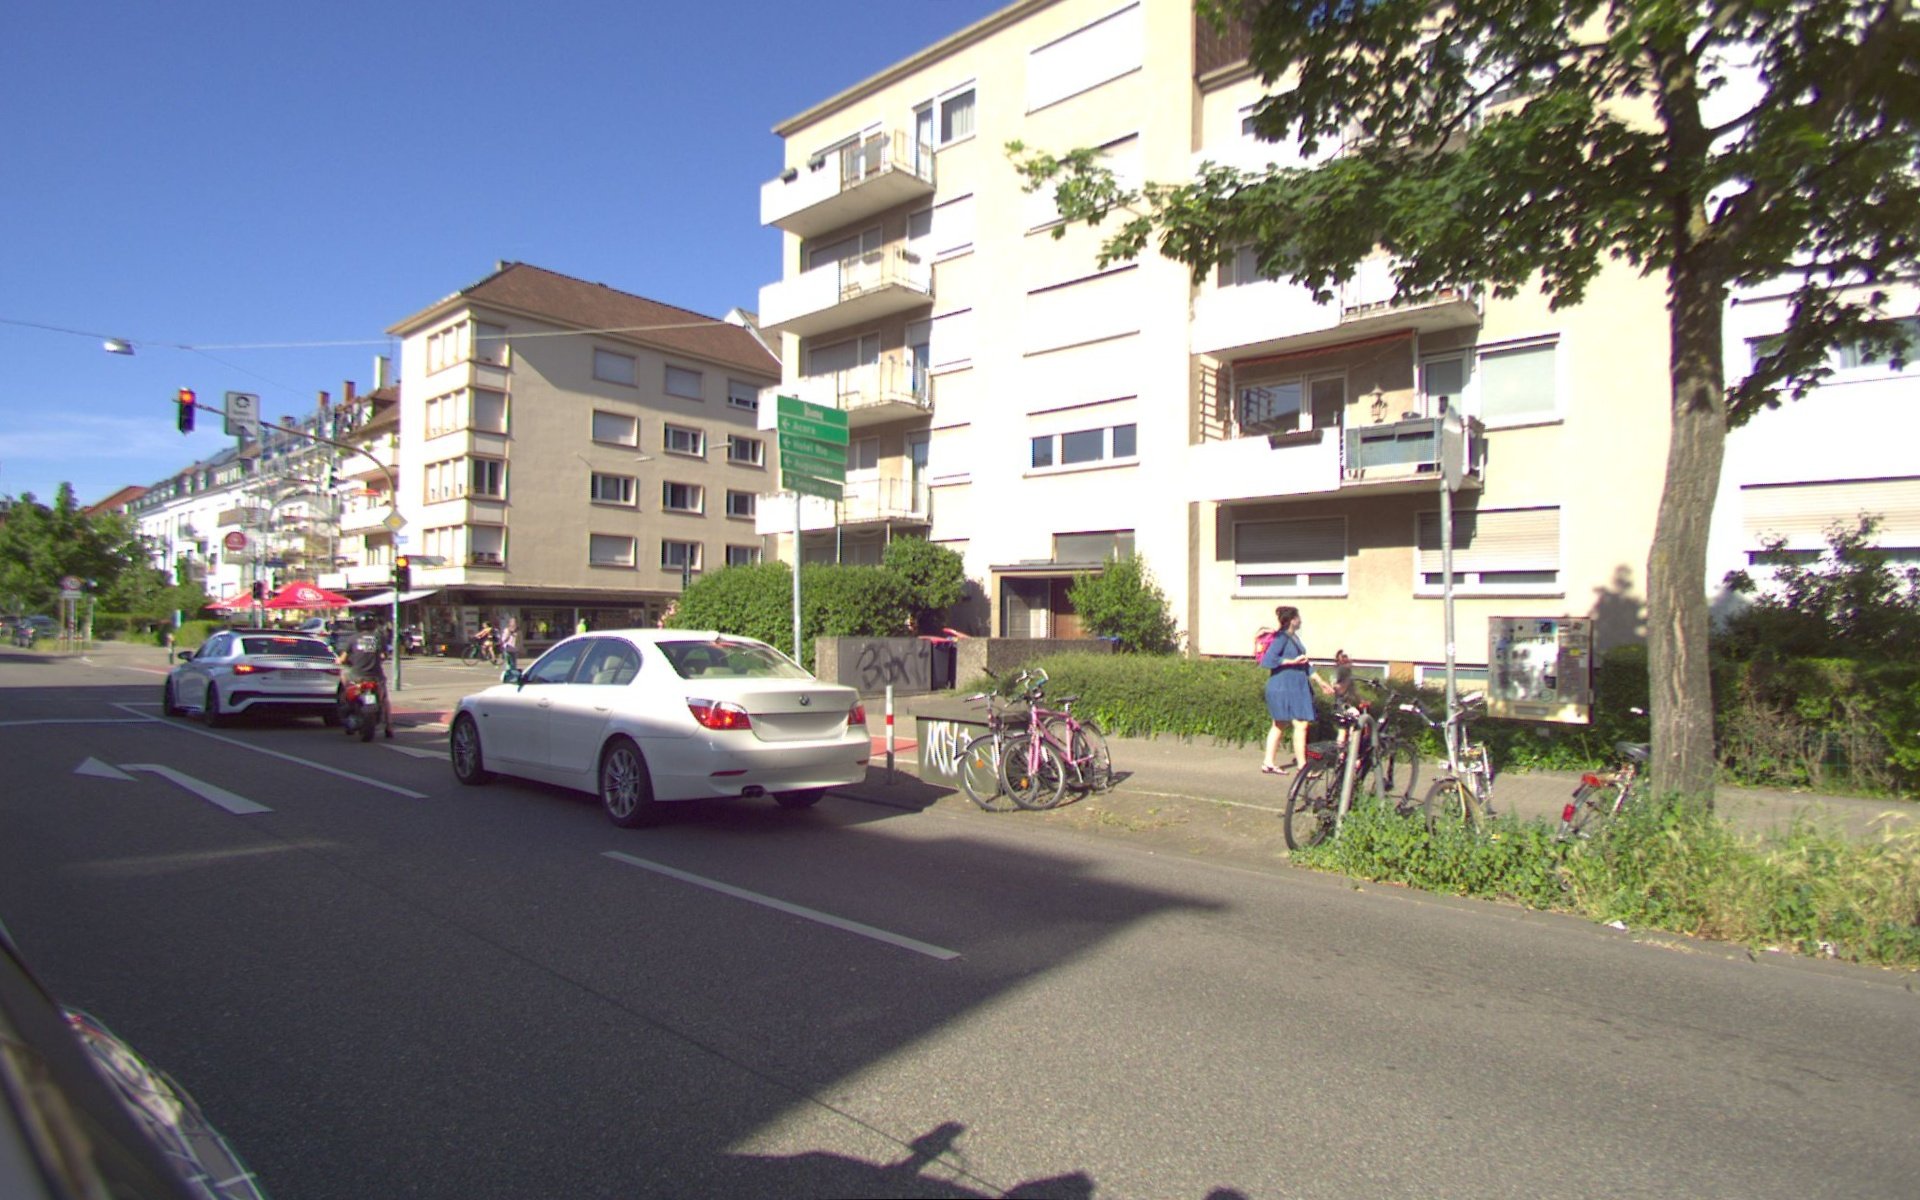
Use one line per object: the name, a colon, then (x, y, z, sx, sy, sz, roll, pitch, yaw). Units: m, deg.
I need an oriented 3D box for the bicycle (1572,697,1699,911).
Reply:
bicycle: (4.086, 1.151, 6.080, 0.447, 0.972, 1.521, -1, 0, 41)

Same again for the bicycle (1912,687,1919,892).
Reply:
bicycle: (5.134, 1.059, 4.976, 0.560, 1.095, 1.807, -1, 0, 41)

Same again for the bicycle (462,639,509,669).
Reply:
bicycle: (-17.727, 2.018, 37.848, 0.449, 1.085, 1.545, -1, -3, 39)

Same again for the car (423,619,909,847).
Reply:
car: (-2.784, 0.952, 8.846, 4.777, 1.476, 1.794, -1, -5, 42)

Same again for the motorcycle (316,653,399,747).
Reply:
motorcycle: (-8.040, 1.295, 13.465, 0.442, 1.130, 1.934, 6, -5, -44)

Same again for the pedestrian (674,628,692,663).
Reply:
pedestrian: (-13.406, 2.188, 48.961, 0.719, 1.658, 0.563, 1, -2, 0)

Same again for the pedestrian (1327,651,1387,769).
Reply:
pedestrian: (4.095, 1.115, 10.446, 0.490, 1.169, 0.331, -2, -2, 41)

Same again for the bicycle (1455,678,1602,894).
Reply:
bicycle: (3.796, 1.137, 6.692, 0.492, 1.095, 1.807, -1, 0, 41)

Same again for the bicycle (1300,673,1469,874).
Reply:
bicycle: (3.035, 1.136, 7.138, 0.560, 1.095, 1.807, -1, 0, 41)

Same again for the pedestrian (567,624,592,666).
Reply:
pedestrian: (-16.002, 1.897, 42.565, 0.683, 1.747, 0.719, 0, -2, 40)

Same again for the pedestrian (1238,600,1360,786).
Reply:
pedestrian: (3.294, 0.862, 9.838, 0.929, 1.699, 0.662, -1, -2, 41)

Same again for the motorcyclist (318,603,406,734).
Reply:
motorcyclist: (-7.960, 0.906, 13.466, 0.720, 1.659, 0.918, 6, -5, -43)

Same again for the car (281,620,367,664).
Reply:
car: (-24.986, 1.625, 39.710, 4.303, 1.635, 1.741, -1, -3, 42)

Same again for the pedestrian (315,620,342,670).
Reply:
pedestrian: (-22.176, 1.577, 35.540, 0.661, 1.731, 0.585, 2, -2, -39)

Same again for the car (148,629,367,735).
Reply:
car: (-11.076, 1.213, 15.835, 4.504, 1.417, 1.680, -1, -5, 41)

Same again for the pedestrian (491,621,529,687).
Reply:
pedestrian: (-11.627, 1.382, 26.133, 0.682, 1.671, 0.650, -1, -3, 43)

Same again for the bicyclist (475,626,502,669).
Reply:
bicyclist: (-17.672, 1.774, 37.933, 0.578, 1.619, 0.677, -1, -3, 40)

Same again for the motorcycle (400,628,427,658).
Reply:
motorcycle: (-26.224, 2.060, 48.564, 1.763, 1.378, 0.562, -2, -3, 44)

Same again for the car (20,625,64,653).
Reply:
car: (-46.115, 1.934, 50.838, 3.093, 1.366, 1.305, -1, -3, 42)

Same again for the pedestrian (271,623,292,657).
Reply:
pedestrian: (-31.361, 1.841, 46.751, 0.535, 1.521, 0.635, -1, 1, 40)

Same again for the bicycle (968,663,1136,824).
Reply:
bicycle: (0.855, 1.179, 8.850, 0.518, 1.171, 1.949, -1, -2, 37)

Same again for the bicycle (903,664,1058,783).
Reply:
bicycle: (0.183, 1.216, 10.346, 1.706, 1.087, 0.422, -1, -3, 41)
